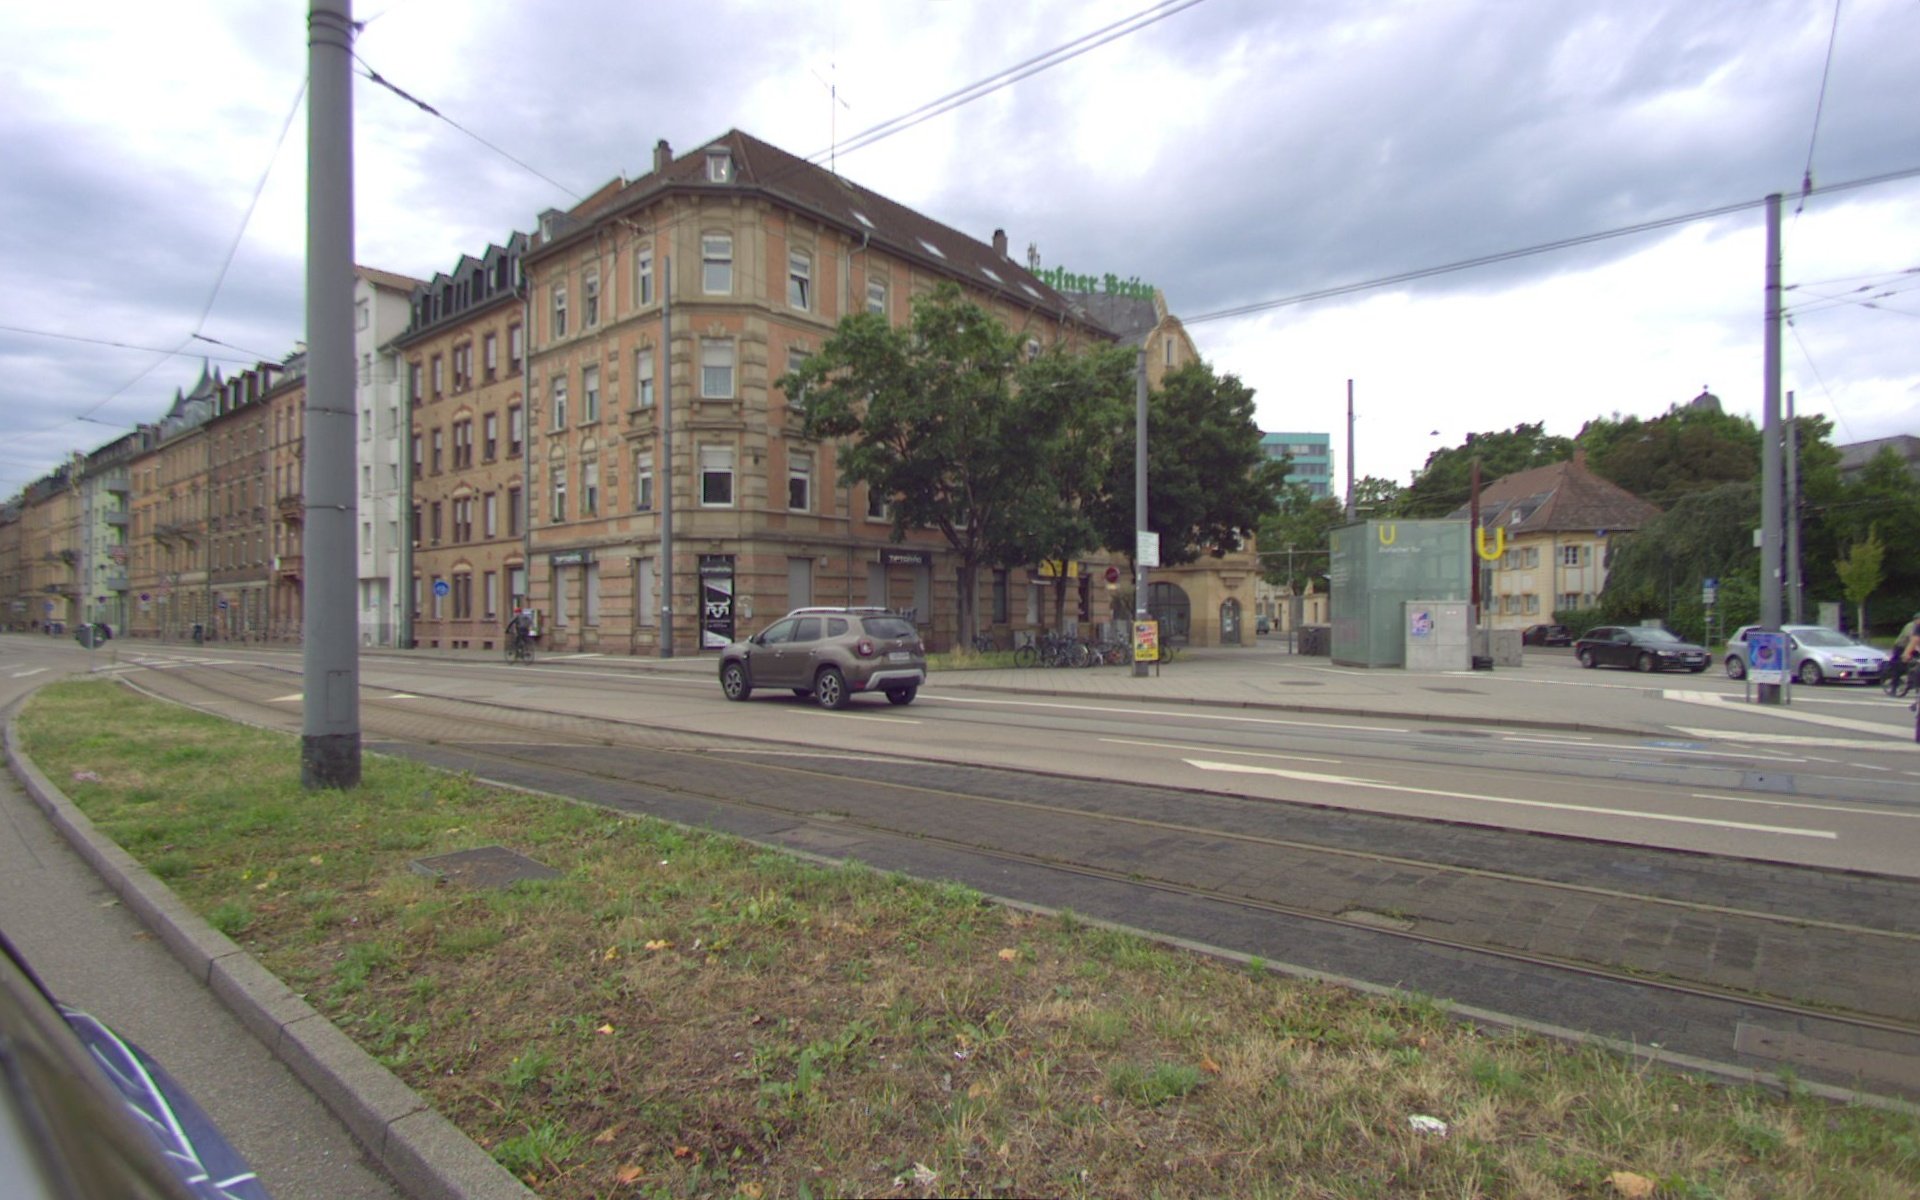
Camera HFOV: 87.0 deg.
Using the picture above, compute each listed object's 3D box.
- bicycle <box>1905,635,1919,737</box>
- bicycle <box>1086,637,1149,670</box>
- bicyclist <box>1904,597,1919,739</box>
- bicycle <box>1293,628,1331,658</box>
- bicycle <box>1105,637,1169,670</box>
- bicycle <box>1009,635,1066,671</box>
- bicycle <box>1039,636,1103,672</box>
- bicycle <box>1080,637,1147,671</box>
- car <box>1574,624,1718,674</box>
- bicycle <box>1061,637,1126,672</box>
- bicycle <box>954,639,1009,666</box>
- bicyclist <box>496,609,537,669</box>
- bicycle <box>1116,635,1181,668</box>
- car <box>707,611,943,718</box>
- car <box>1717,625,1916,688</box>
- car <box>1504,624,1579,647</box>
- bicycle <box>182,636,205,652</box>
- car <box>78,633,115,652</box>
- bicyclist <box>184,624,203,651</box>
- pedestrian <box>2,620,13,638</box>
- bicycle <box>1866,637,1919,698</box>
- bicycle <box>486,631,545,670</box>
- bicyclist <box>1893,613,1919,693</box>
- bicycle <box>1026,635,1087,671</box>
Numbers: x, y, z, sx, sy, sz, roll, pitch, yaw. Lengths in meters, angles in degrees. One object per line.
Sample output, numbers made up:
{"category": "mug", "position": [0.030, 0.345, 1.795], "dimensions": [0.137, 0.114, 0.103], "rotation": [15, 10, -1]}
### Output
{"category": "bicycle", "position": [12.735, 1.086, 12.993], "dimensions": [0.816, 1.252, 1.971], "rotation": [-3, -4, 43]}
{"category": "bicycle", "position": [5.039, 1.692, 32.496], "dimensions": [0.492, 0.994, 2.224], "rotation": [0, -1, -39]}
{"category": "bicyclist", "position": [12.785, 0.856, 13.052], "dimensions": [0.816, 1.812, 1.015], "rotation": [-3, -3, 43]}
{"category": "bicycle", "position": [13.938, 1.705, 40.127], "dimensions": [0.730, 1.123, 2.361], "rotation": [-1, -1, 3]}
{"category": "bicycle", "position": [5.763, 1.732, 33.159], "dimensions": [0.576, 0.994, 2.224], "rotation": [0, -1, -39]}
{"category": "bicycle", "position": [2.253, 1.547, 29.755], "dimensions": [0.492, 0.994, 1.872], "rotation": [1, -2, -41]}
{"category": "bicycle", "position": [3.320, 1.606, 30.508], "dimensions": [0.472, 1.014, 2.224], "rotation": [0, -1, -39]}
{"category": "bicycle", "position": [4.806, 1.693, 31.837], "dimensions": [0.601, 0.994, 2.224], "rotation": [0, -1, -39]}
{"category": "car", "position": [21.802, 1.523, 32.380], "dimensions": [1.673, 1.460, 4.144], "rotation": [-1, -1, -1]}
{"category": "bicycle", "position": [4.038, 1.640, 30.840], "dimensions": [0.492, 0.994, 2.224], "rotation": [0, -1, -39]}
{"category": "bicycle", "position": [0.815, 1.974, 38.001], "dimensions": [1.982, 0.921, 0.655], "rotation": [-4, -5, 31]}
{"category": "bicyclist", "position": [-14.337, 1.251, 32.726], "dimensions": [1.048, 1.906, 0.821], "rotation": [-2, -3, 39]}
{"category": "bicycle", "position": [6.363, 1.731, 34.284], "dimensions": [0.678, 1.047, 2.224], "rotation": [0, -1, -39]}
{"category": "car", "position": [-2.456, 1.036, 17.757], "dimensions": [4.228, 1.652, 1.779], "rotation": [-1, -1, 41]}
{"category": "car", "position": [21.903, 1.386, 26.134], "dimensions": [1.739, 1.465, 4.156], "rotation": [-1, -1, 4]}
{"category": "car", "position": [35.617, 2.155, 62.088], "dimensions": [1.904, 1.298, 4.006], "rotation": [0, -1, -7]}
{"category": "bicycle", "position": [-44.174, 2.526, 58.314], "dimensions": [1.716, 0.922, 0.600], "rotation": [-1, -1, 37]}
{"category": "car", "position": [-68.714, 3.363, 80.523], "dimensions": [3.828, 1.491, 1.828], "rotation": [-2, -2, 43]}
{"category": "bicyclist", "position": [-44.186, 2.154, 58.326], "dimensions": [0.941, 1.506, 0.655], "rotation": [-1, -1, 37]}
{"category": "pedestrian", "position": [-104.951, 3.208, 111.469], "dimensions": [0.733, 2.029, 0.804], "rotation": [-1, -2, 41]}
{"category": "bicycle", "position": [19.964, 1.382, 20.713], "dimensions": [0.845, 1.217, 2.197], "rotation": [0, -1, 1]}
{"category": "bicycle", "position": [-14.413, 1.617, 32.773], "dimensions": [2.232, 1.217, 0.816], "rotation": [-2, -3, 40]}
{"category": "bicyclist", "position": [19.969, 1.084, 20.715], "dimensions": [0.843, 1.635, 0.917], "rotation": [0, -2, 1]}
{"category": "bicycle", "position": [2.868, 1.564, 30.182], "dimensions": [0.513, 0.994, 2.041], "rotation": [0, -1, -39]}
